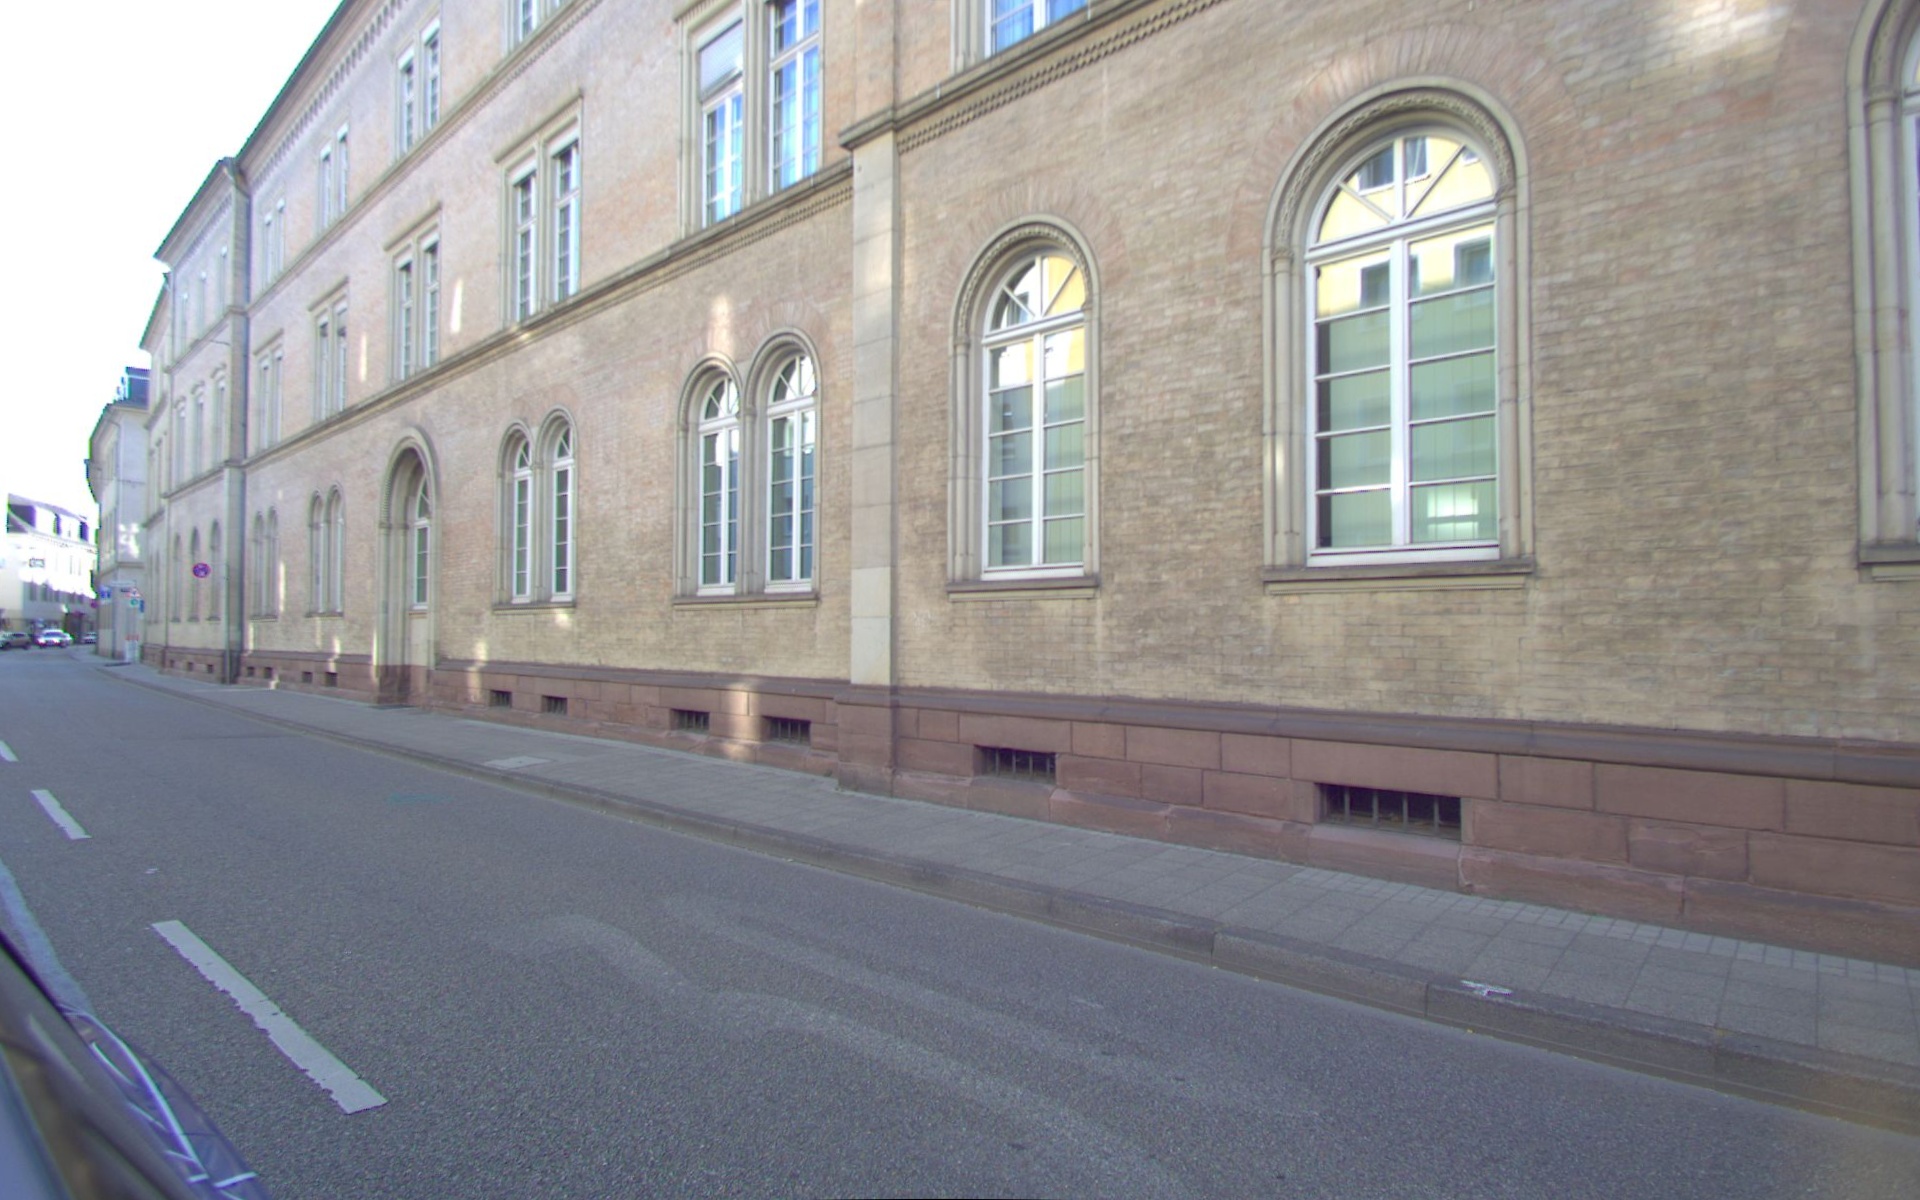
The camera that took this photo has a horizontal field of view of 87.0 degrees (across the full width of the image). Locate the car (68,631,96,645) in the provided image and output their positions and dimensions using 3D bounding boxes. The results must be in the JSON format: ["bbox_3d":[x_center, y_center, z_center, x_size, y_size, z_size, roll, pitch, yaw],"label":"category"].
[{"bbox_3d":[-109.459,4.696,126.257,1.896,1.737,4.242,1,-2,-31],"label":"car"}]

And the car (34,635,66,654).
[{"bbox_3d":[-87.922,4.248,97.774,1.893,1.735,4.970,1,-2,-38],"label":"car"}]

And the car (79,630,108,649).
[{"bbox_3d":[-80.391,3.632,93.915,1.638,1.737,3.748,1,-2,-36],"label":"car"}]

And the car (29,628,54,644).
[{"bbox_3d":[-102.396,4.045,112.880,1.511,1.737,3.749,1,-2,-34],"label":"car"}]

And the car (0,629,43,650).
[{"bbox_3d":[-81.335,3.377,87.032,1.835,1.737,3.743,0,-2,-6],"label":"car"}]
